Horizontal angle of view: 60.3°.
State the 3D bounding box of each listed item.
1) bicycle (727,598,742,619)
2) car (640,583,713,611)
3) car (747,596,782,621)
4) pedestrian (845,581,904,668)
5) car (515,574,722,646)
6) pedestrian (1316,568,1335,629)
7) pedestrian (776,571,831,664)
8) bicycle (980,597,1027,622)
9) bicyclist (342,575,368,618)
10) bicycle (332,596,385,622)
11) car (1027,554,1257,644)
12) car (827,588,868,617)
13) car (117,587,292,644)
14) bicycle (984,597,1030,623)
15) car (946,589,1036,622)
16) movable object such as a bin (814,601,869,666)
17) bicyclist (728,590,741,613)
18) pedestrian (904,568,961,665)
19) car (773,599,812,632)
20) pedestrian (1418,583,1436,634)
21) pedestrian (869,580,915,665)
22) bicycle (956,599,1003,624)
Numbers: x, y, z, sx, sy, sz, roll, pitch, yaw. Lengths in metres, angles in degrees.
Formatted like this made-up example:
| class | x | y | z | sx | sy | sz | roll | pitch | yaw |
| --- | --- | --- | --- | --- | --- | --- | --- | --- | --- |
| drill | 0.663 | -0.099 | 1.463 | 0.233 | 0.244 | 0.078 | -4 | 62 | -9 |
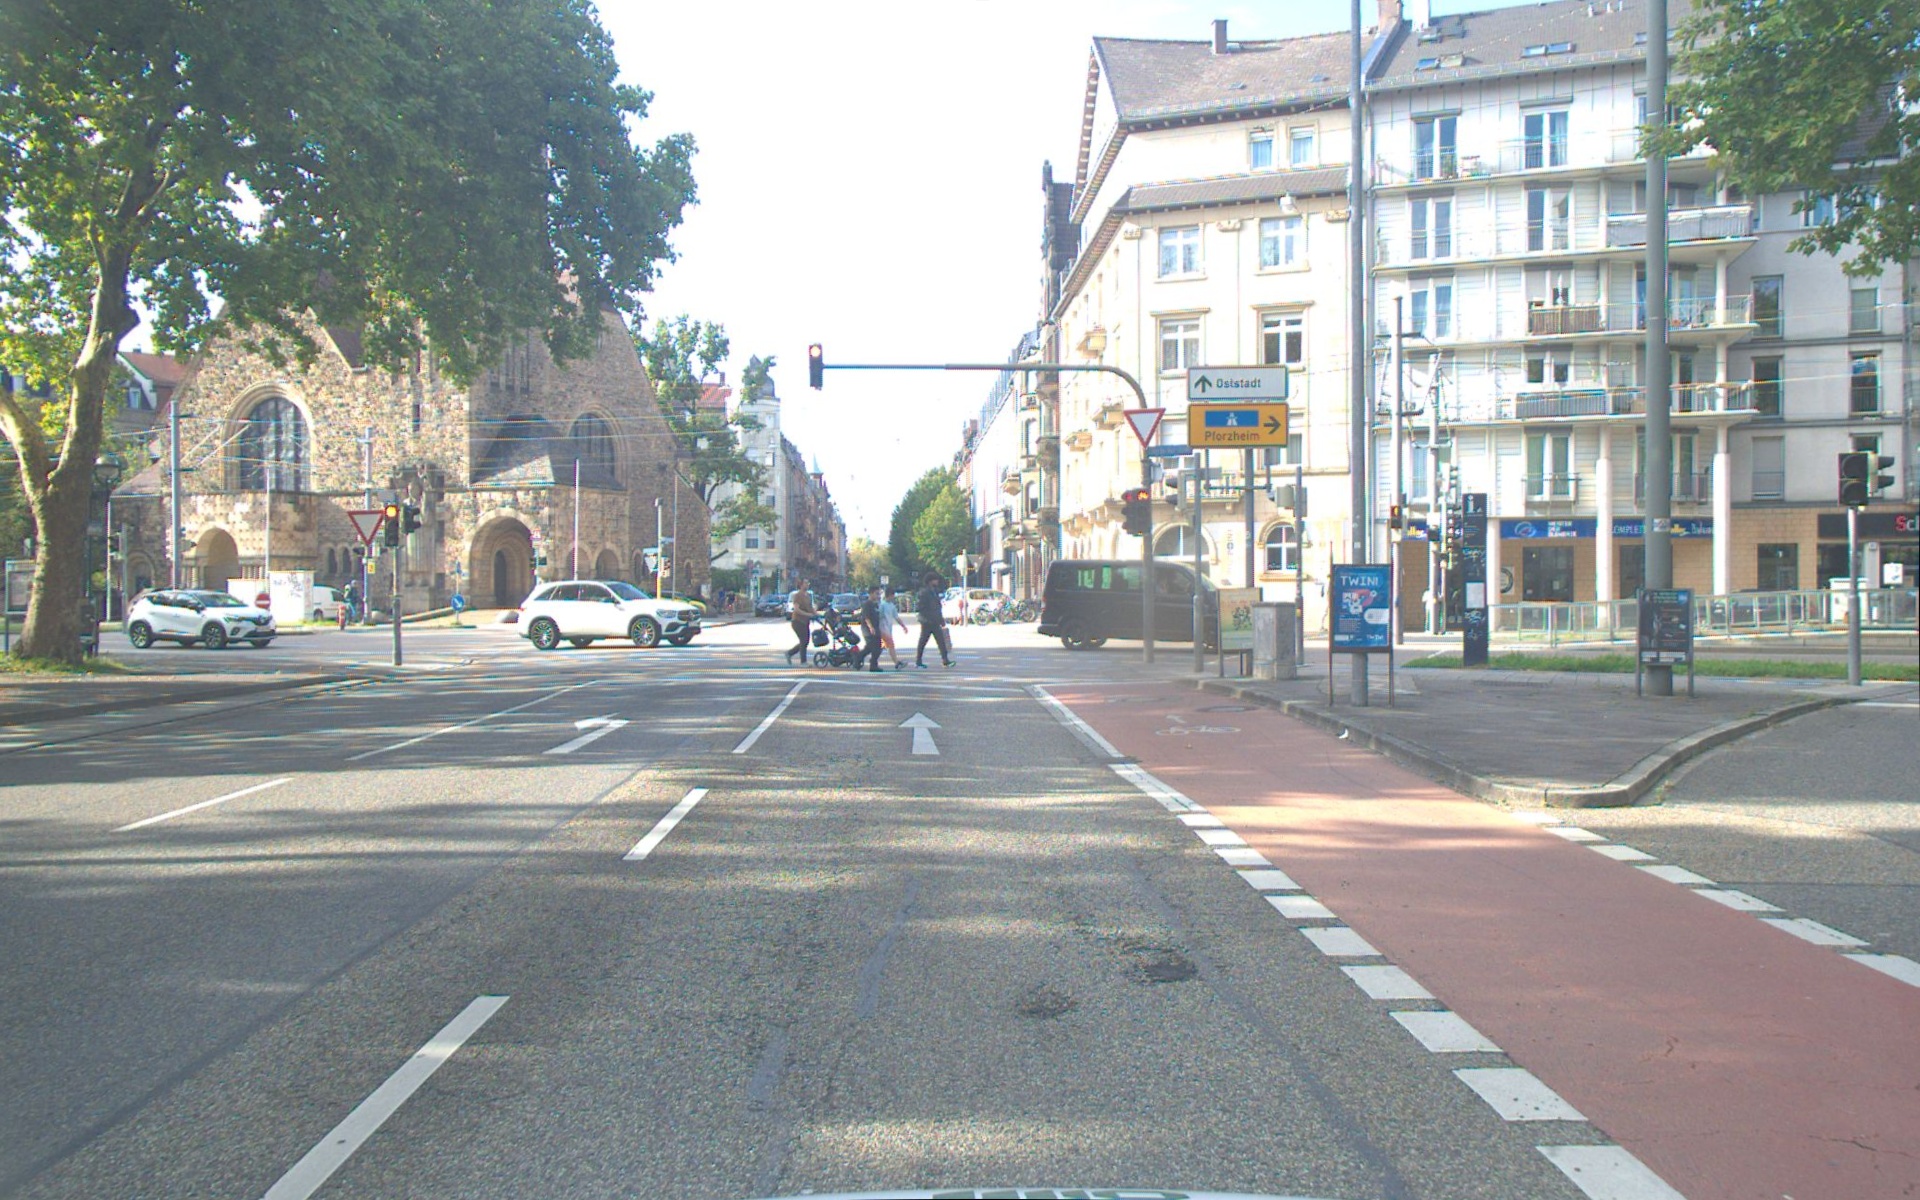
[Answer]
| class | x | y | z | sx | sy | sz | roll | pitch | yaw |
| --- | --- | --- | --- | --- | --- | --- | --- | --- | --- |
| bicycle | -13.399 | 0.515 | 98.311 | 0.677 | 1.202 | 1.918 | 0 | 1 | -2 |
| car | -16.978 | -0.180 | 99.056 | 3.964 | 1.624 | 1.841 | -1 | 1 | -41 |
| car | -12.775 | 0.542 | 108.481 | 1.953 | 1.523 | 3.999 | 0 | 1 | -2 |
| pedestrian | -1.453 | 0.413 | 28.169 | 0.765 | 1.457 | 0.731 | 0 | 0 | 21 |
| car | -8.401 | 0.229 | 40.791 | 4.607 | 1.712 | 2.018 | 0 | 1 | 18 |
| pedestrian | 13.001 | -0.049 | 58.780 | 0.515 | 2.129 | 0.497 | 2 | 0 | 24 |
| pedestrian | -2.812 | 0.310 | 29.736 | 0.798 | 1.657 | 0.605 | 0 | 0 | 22 |
| bicycle | 1.950 | 0.434 | 73.867 | 1.987 | 1.101 | 0.629 | 0 | 1 | -12 |
| bicyclist | -23.650 | -0.133 | 64.668 | 0.712 | 1.691 | 0.716 | 0 | 0 | 40 |
| bicycle | -23.612 | 0.344 | 64.916 | 0.626 | 0.997 | 1.916 | 0 | 1 | 38 |
| car | 4.026 | -0.027 | 36.470 | 4.741 | 1.903 | 2.032 | 0 | 0 | 18 |
| car | -5.605 | 0.111 | 83.071 | 1.910 | 1.396 | 3.999 | 0 | 1 | -2 |
| car | -20.673 | 0.407 | 45.276 | 4.158 | 1.505 | 1.899 | 0 | 1 | 18 |
| bicycle | 2.081 | 0.442 | 73.200 | 1.987 | 1.101 | 0.618 | 0 | 1 | -12 |
| car | 1.398 | 0.247 | 75.526 | 3.909 | 1.445 | 1.998 | 0 | 0 | -6 |
| movable object such as a bin | -2.112 | 0.586 | 29.471 | 0.820 | 1.143 | 0.575 | 0 | 0 | 21 |
| bicyclist | -13.391 | 0.078 | 98.141 | 0.669 | 1.391 | 0.779 | 0 | 0 | -2 |
| pedestrian | -0.485 | 0.286 | 29.293 | 0.765 | 1.691 | 0.779 | 0 | 0 | 21 |
| car | -9.572 | 0.887 | 94.764 | 1.910 | 1.780 | 3.999 | 0 | 1 | -2 |
| pedestrian | 16.077 | 0.285 | 56.952 | 0.485 | 1.744 | 0.527 | 2 | 0 | 22 |
| pedestrian | -1.180 | 0.376 | 28.745 | 0.641 | 1.457 | 0.498 | 0 | 0 | 21 |
| bicycle | 0.859 | 0.505 | 73.121 | 1.987 | 1.101 | 0.618 | 0 | 1 | -12 |
